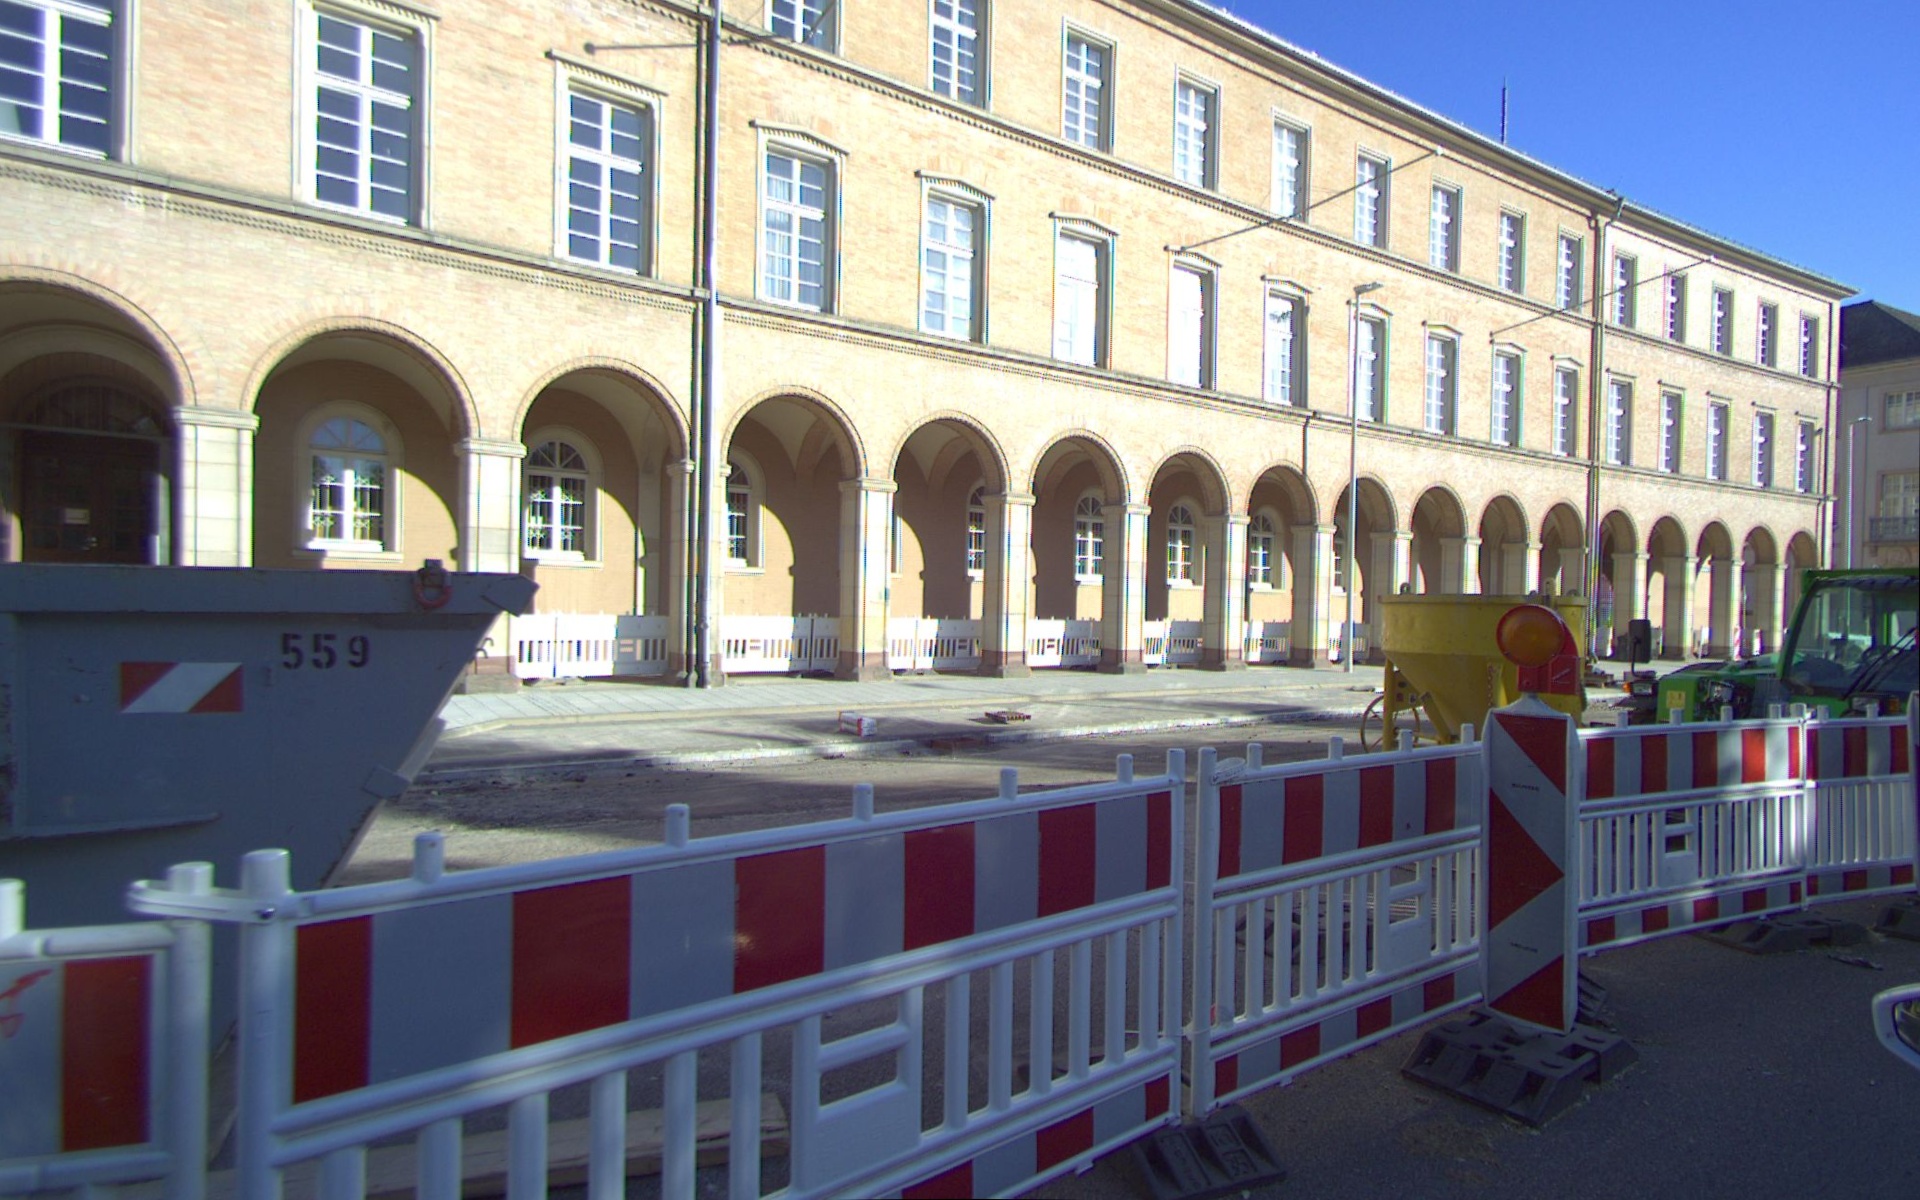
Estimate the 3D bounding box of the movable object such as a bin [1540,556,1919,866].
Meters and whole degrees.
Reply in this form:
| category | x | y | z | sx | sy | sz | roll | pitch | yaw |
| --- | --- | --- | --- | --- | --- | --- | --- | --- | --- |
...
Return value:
| category | x | y | z | sx | sy | sz | roll | pitch | yaw |
| --- | --- | --- | --- | --- | --- | --- | --- | --- | --- |
| movable object such as a bin | 7.119 | 0.702 | 8.302 | 4.279 | 1.975 | 2.042 | 0 | 1 | -27 |
